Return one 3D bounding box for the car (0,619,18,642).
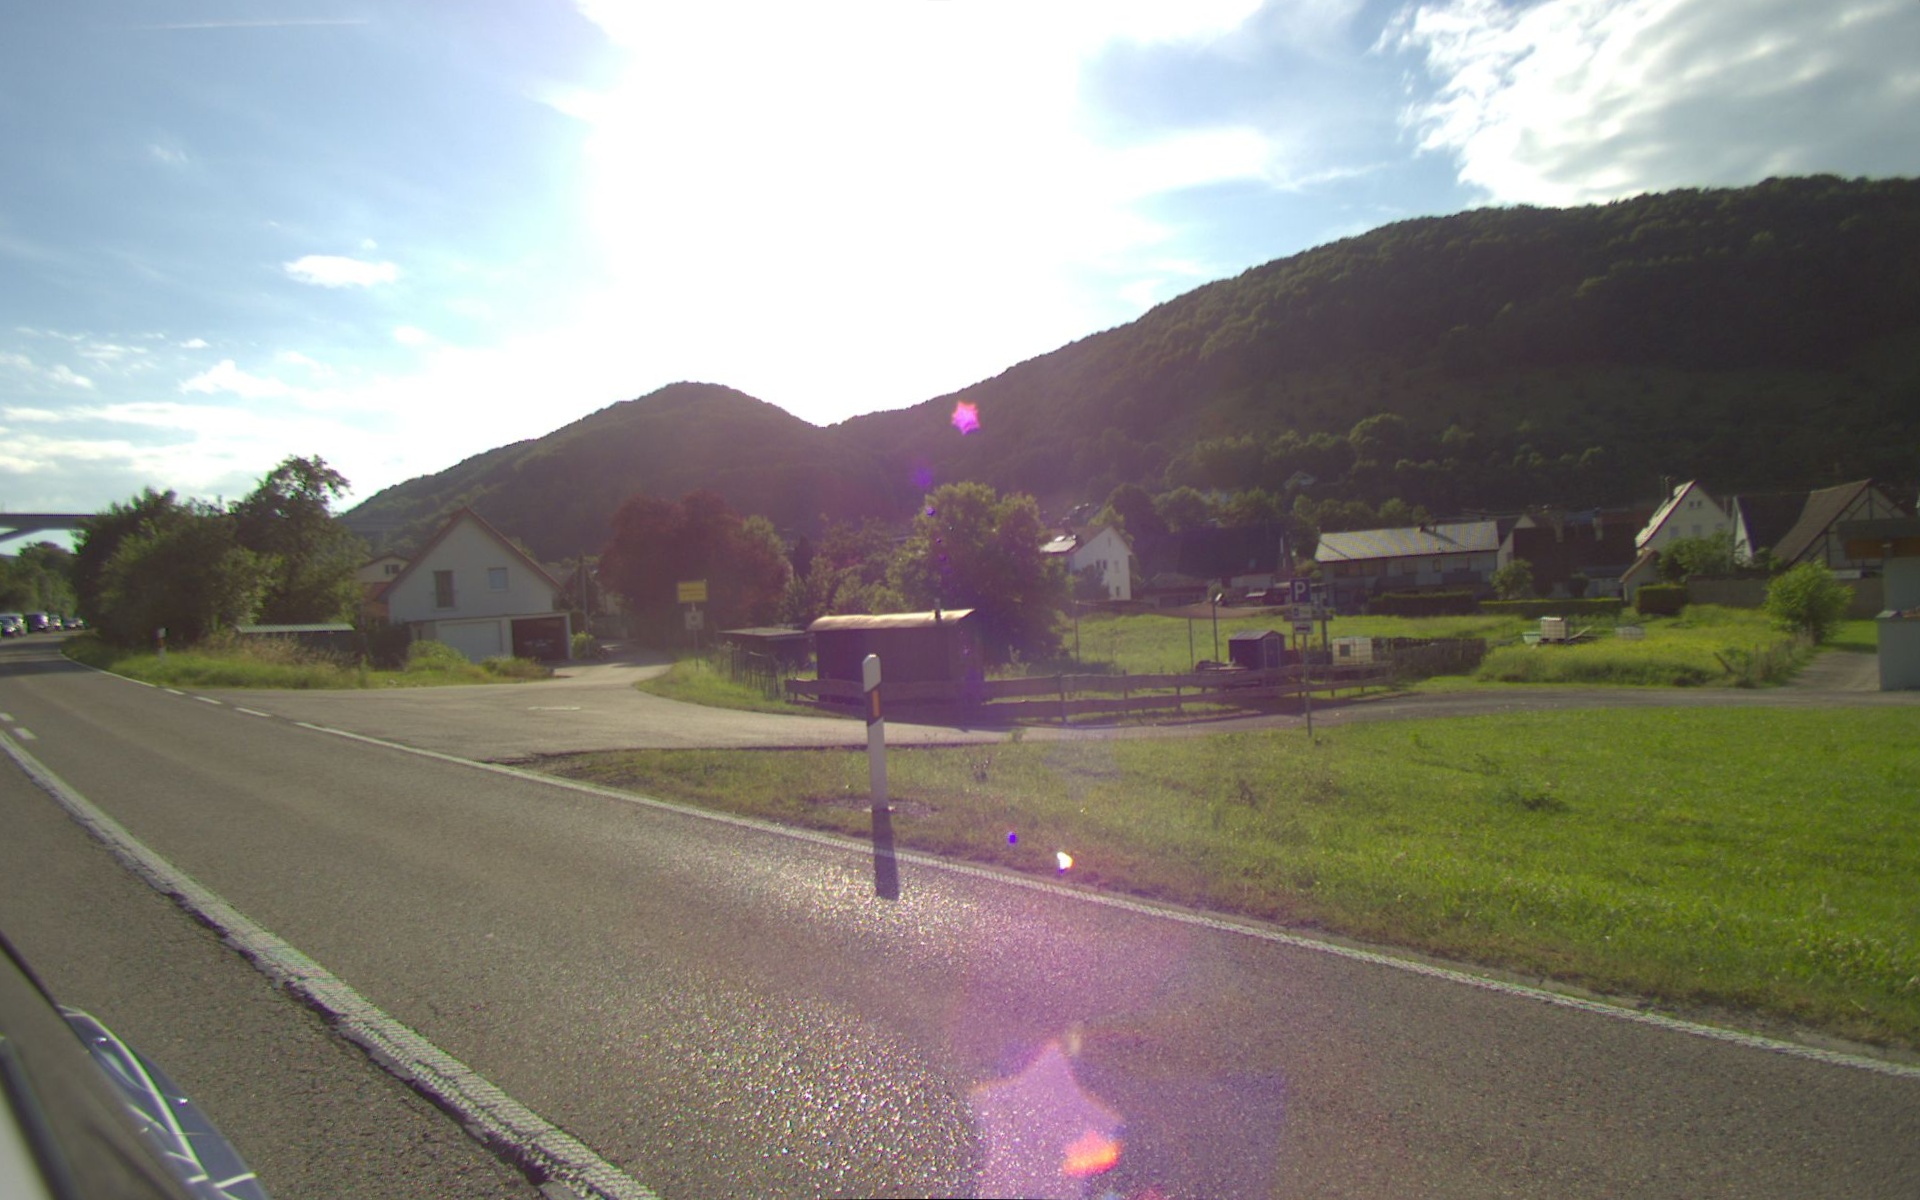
[{"bbox_3d":[-68.785,2.168,72.419,1.814,1.564,4.184,1,-2,-41],"label":"car"}]

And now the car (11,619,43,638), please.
[{"bbox_3d":[-83.906,2.528,91.042,1.791,1.630,4.007,1,-2,-39],"label":"car"}]

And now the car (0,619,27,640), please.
[{"bbox_3d":[-74.721,2.307,79.483,1.790,1.630,4.008,1,-1,-38],"label":"car"}]

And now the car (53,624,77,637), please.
[{"bbox_3d":[-114.057,3.905,129.030,1.813,1.564,4.187,1,-2,-36],"label":"car"}]
